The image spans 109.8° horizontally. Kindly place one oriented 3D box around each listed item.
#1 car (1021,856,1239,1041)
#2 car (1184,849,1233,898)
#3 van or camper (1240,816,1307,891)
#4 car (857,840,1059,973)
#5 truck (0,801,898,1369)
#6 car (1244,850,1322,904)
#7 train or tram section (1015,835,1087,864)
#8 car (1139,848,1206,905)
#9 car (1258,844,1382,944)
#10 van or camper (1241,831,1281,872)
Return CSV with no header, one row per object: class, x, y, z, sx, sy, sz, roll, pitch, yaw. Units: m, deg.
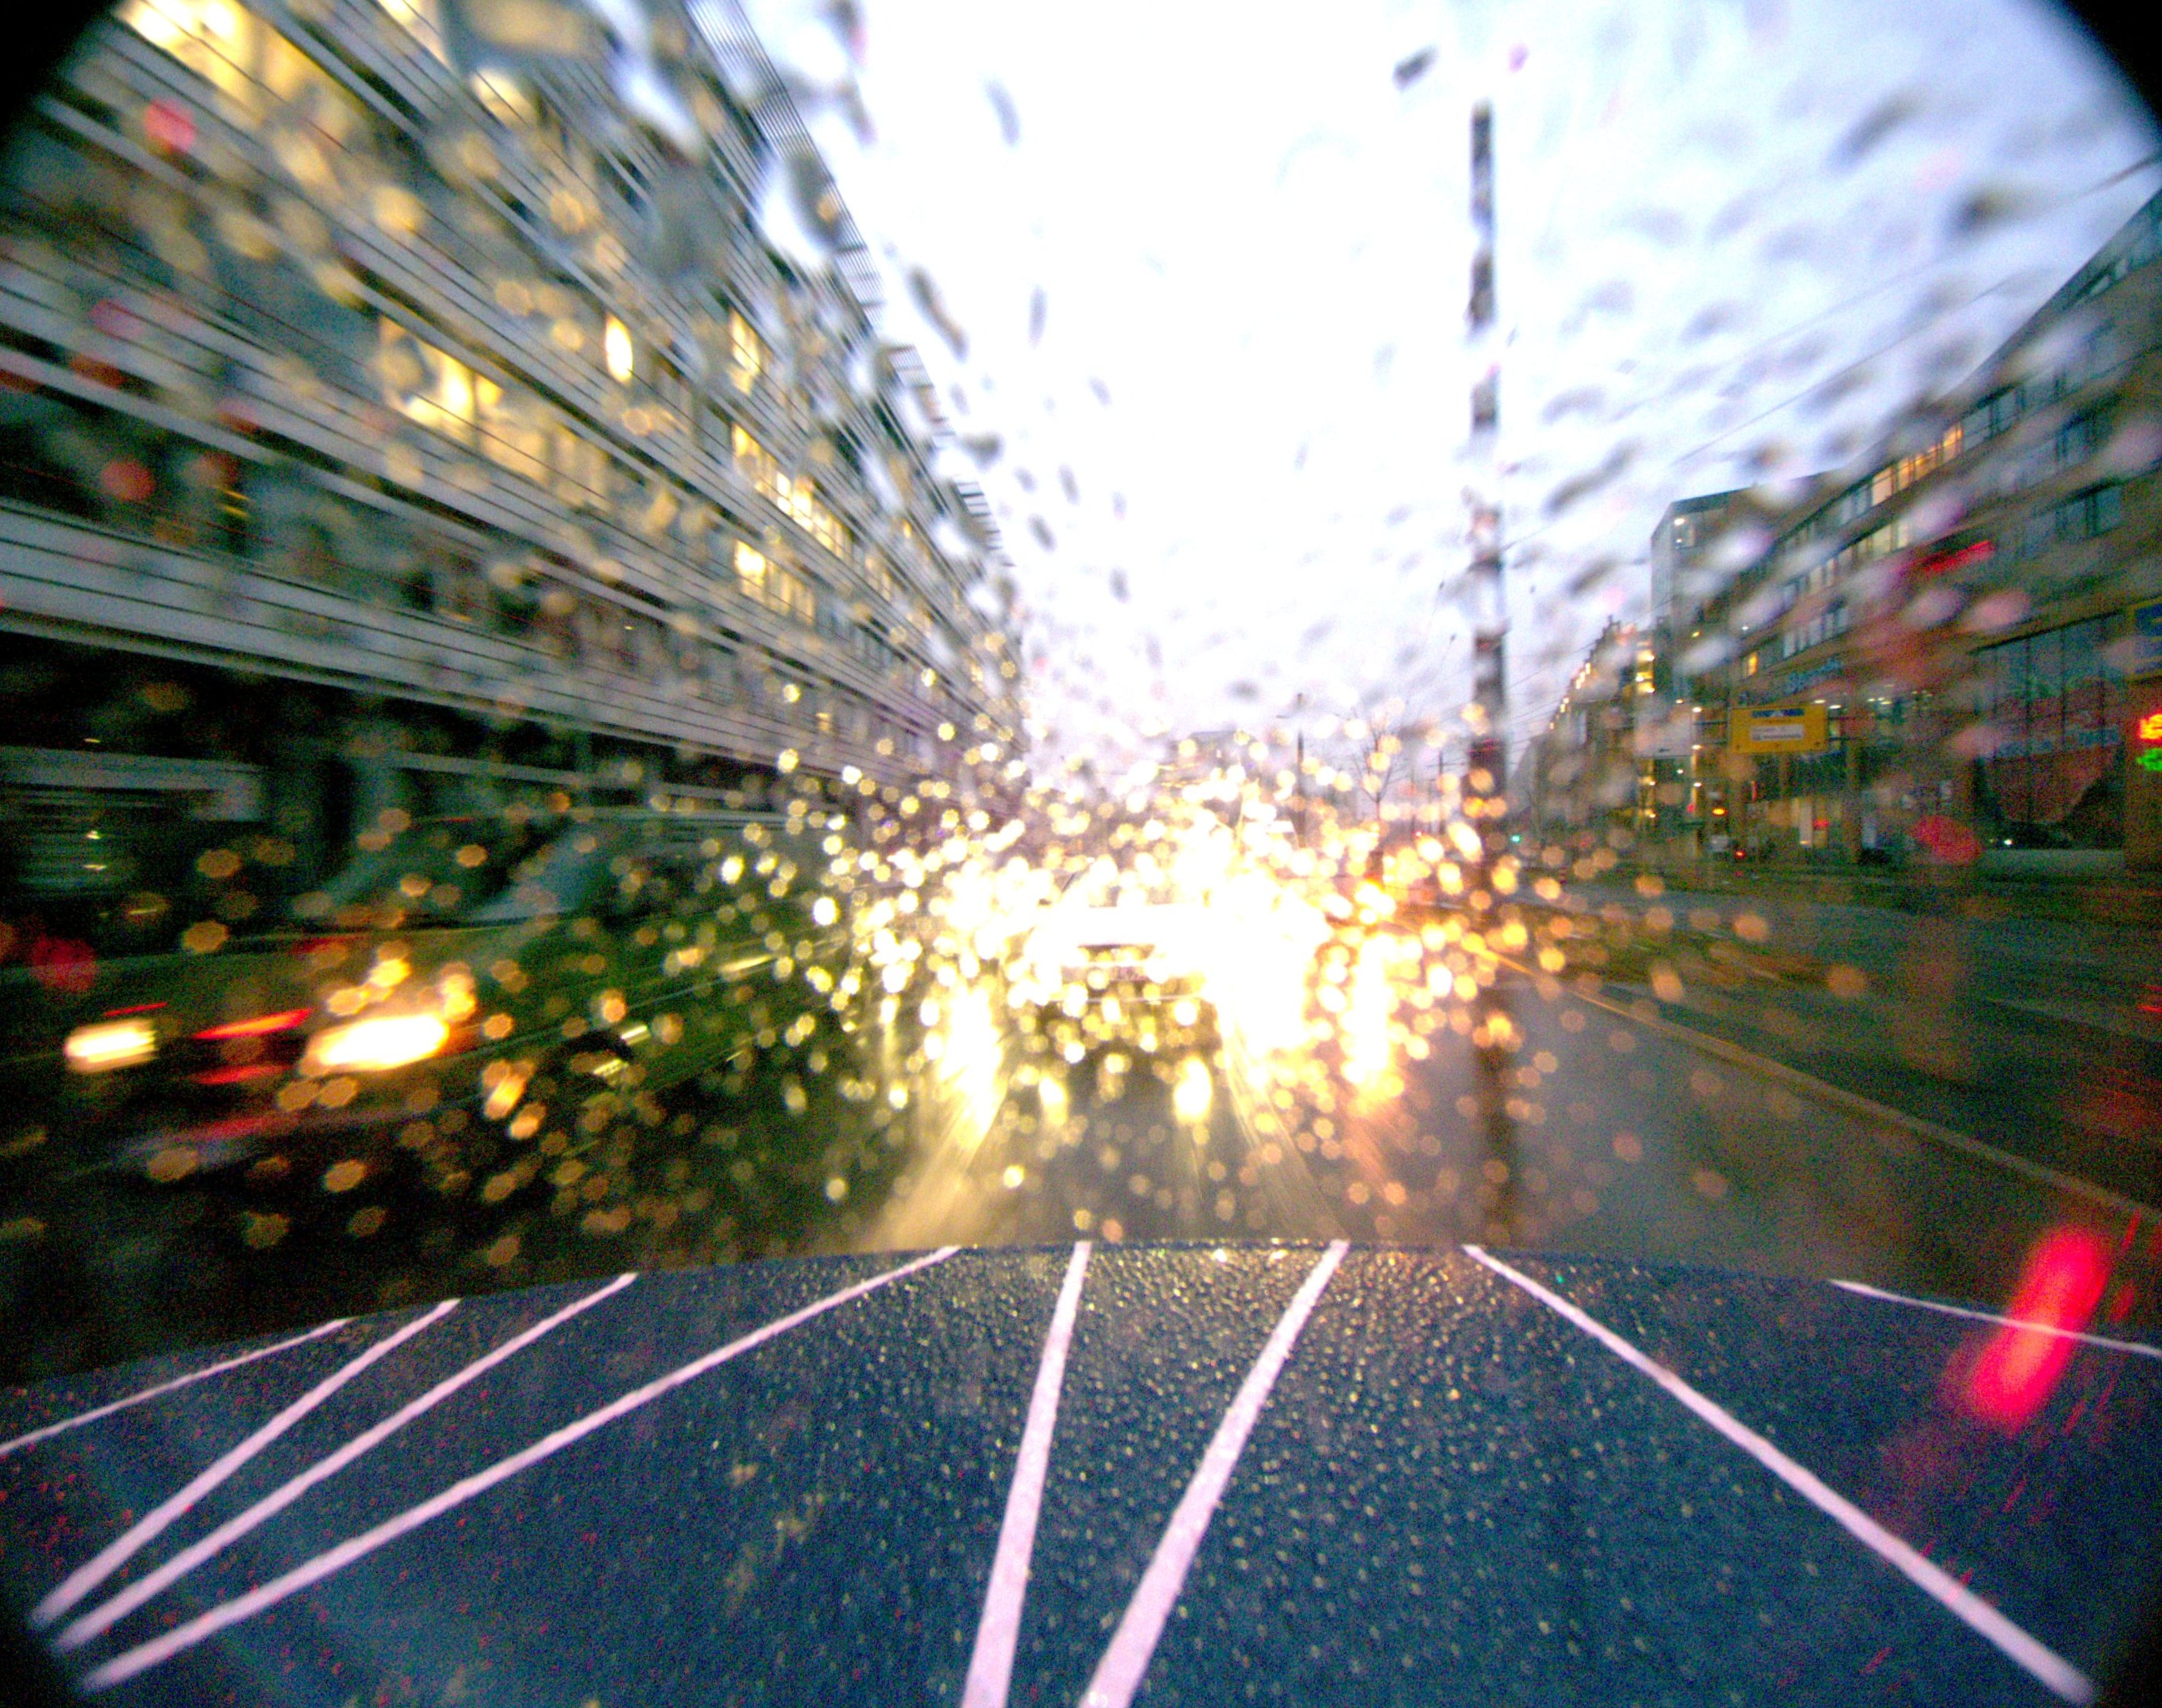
car,0.619,0.812,8.503,1.773,1.449,4.223,-3,0,6
car,5.041,0.730,29.905,1.683,1.723,3.716,-3,0,10
van or camper,7.287,-0.071,29.339,2.059,2.533,5.889,-3,1,11
car,-1.828,0.729,13.062,1.908,1.809,4.692,-3,0,10
truck,-3.064,0.796,4.958,1.908,1.906,4.619,-3,0,9
car,5.815,0.618,22.310,1.823,1.324,4.228,-3,0,10
train or tram section,-5.877,-0.828,146.174,13.354,4.832,3.745,-2,1,26
car,2.802,0.602,22.695,1.772,1.449,4.223,-1,1,9
car,4.195,0.623,13.843,1.683,1.564,3.763,-1,1,10
van or camper,11.370,-0.169,47.884,2.183,2.339,5.655,-3,0,14
